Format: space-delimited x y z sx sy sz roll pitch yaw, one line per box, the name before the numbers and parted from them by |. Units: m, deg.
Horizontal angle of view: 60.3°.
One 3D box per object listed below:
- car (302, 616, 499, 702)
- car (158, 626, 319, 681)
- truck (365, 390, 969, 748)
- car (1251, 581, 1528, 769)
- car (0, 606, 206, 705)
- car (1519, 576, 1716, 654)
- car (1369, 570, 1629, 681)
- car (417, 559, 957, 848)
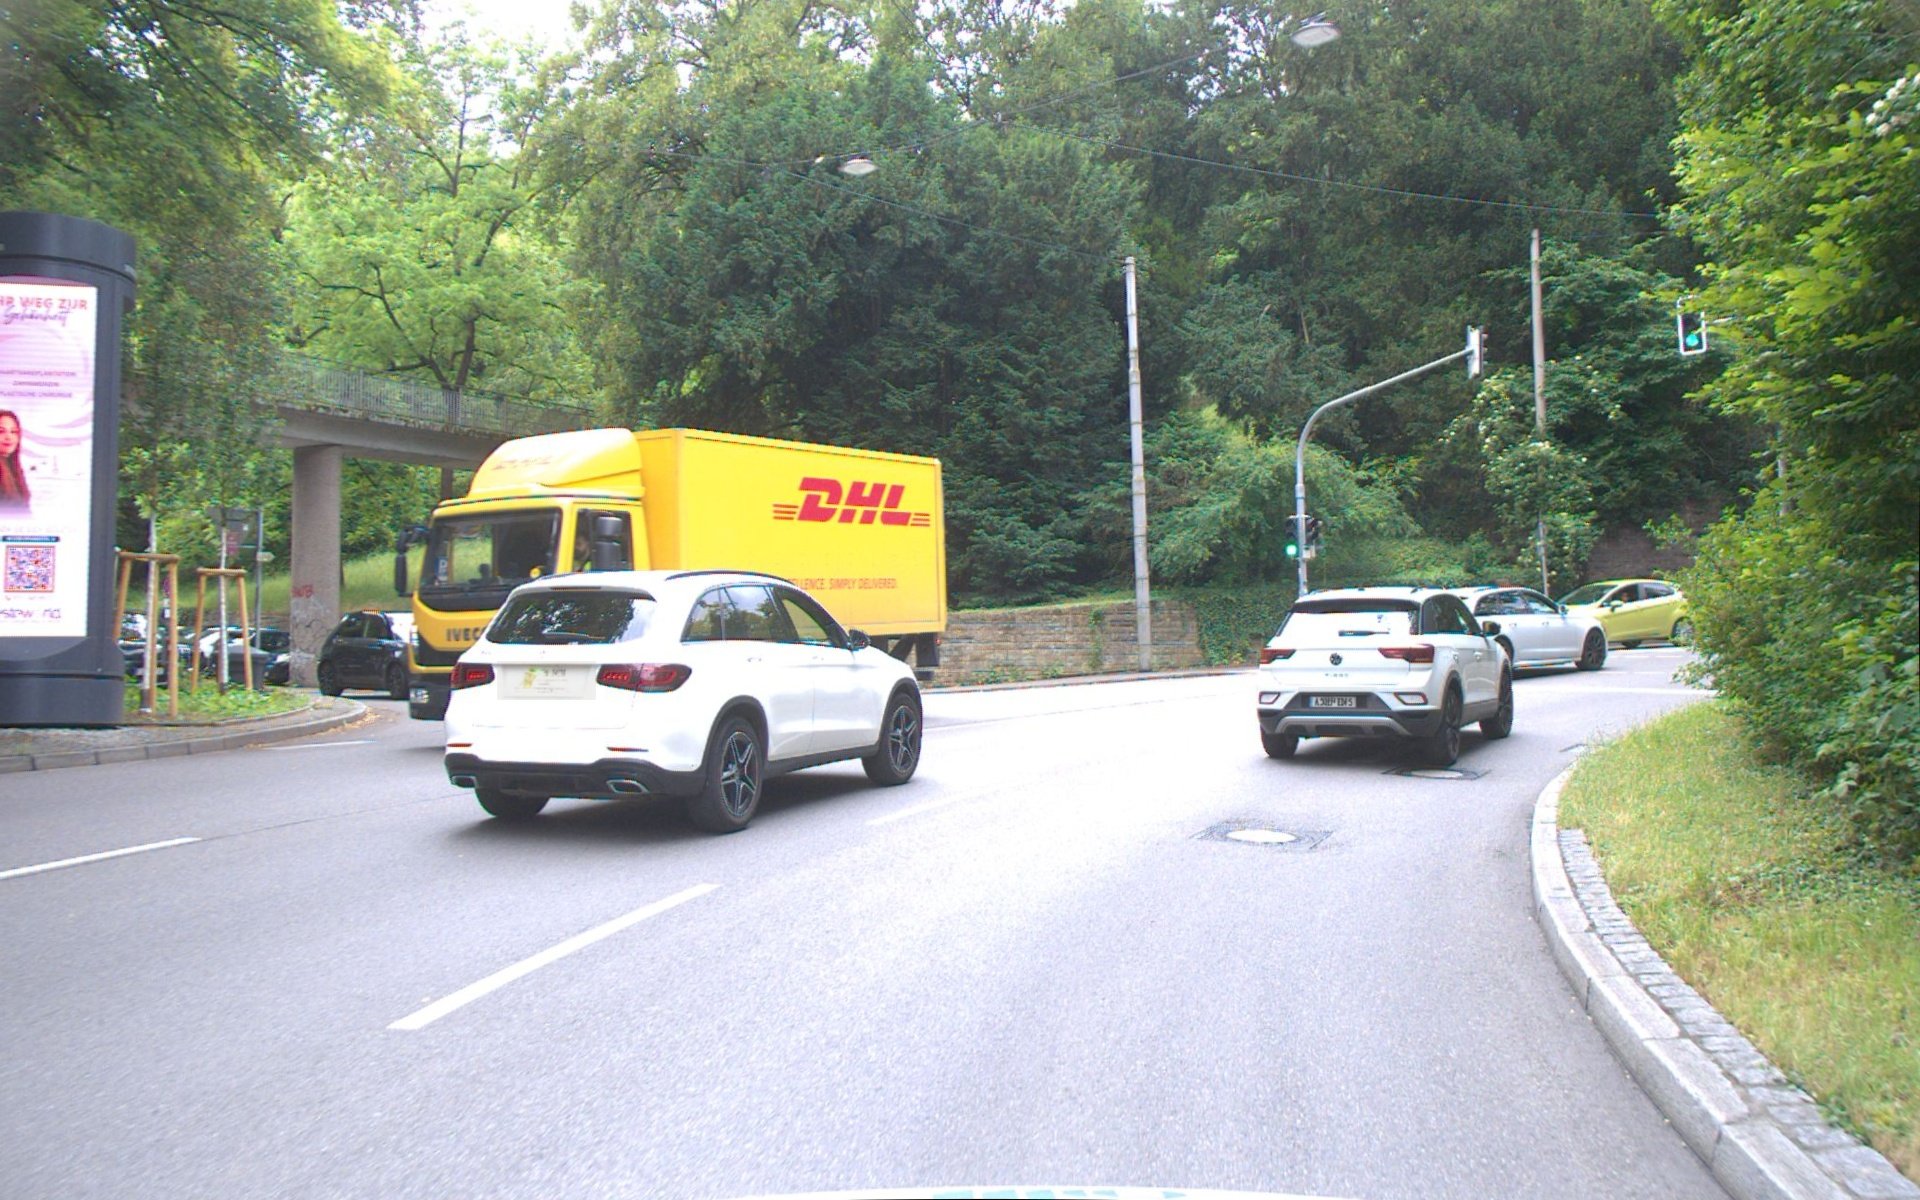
car | -9.787 0.975 28.782 1.741 1.382 3.934 1 -1 -44
car | -21.386 1.597 49.140 1.791 1.546 3.980 0 -2 39
truck | -2.995 -0.237 19.475 2.699 3.358 7.566 -2 -1 31
car | 4.348 0.605 16.253 1.721 1.580 4.332 0 1 27
car | -15.955 0.995 30.578 4.454 1.714 1.800 -1 -1 37
car | 13.965 0.301 35.153 3.831 1.447 1.550 -3 0 -21
car | 8.949 0.397 27.271 4.733 1.561 1.843 -3 -1 -41
car | -1.668 0.602 11.997 1.820 1.633 4.672 1 0 19
